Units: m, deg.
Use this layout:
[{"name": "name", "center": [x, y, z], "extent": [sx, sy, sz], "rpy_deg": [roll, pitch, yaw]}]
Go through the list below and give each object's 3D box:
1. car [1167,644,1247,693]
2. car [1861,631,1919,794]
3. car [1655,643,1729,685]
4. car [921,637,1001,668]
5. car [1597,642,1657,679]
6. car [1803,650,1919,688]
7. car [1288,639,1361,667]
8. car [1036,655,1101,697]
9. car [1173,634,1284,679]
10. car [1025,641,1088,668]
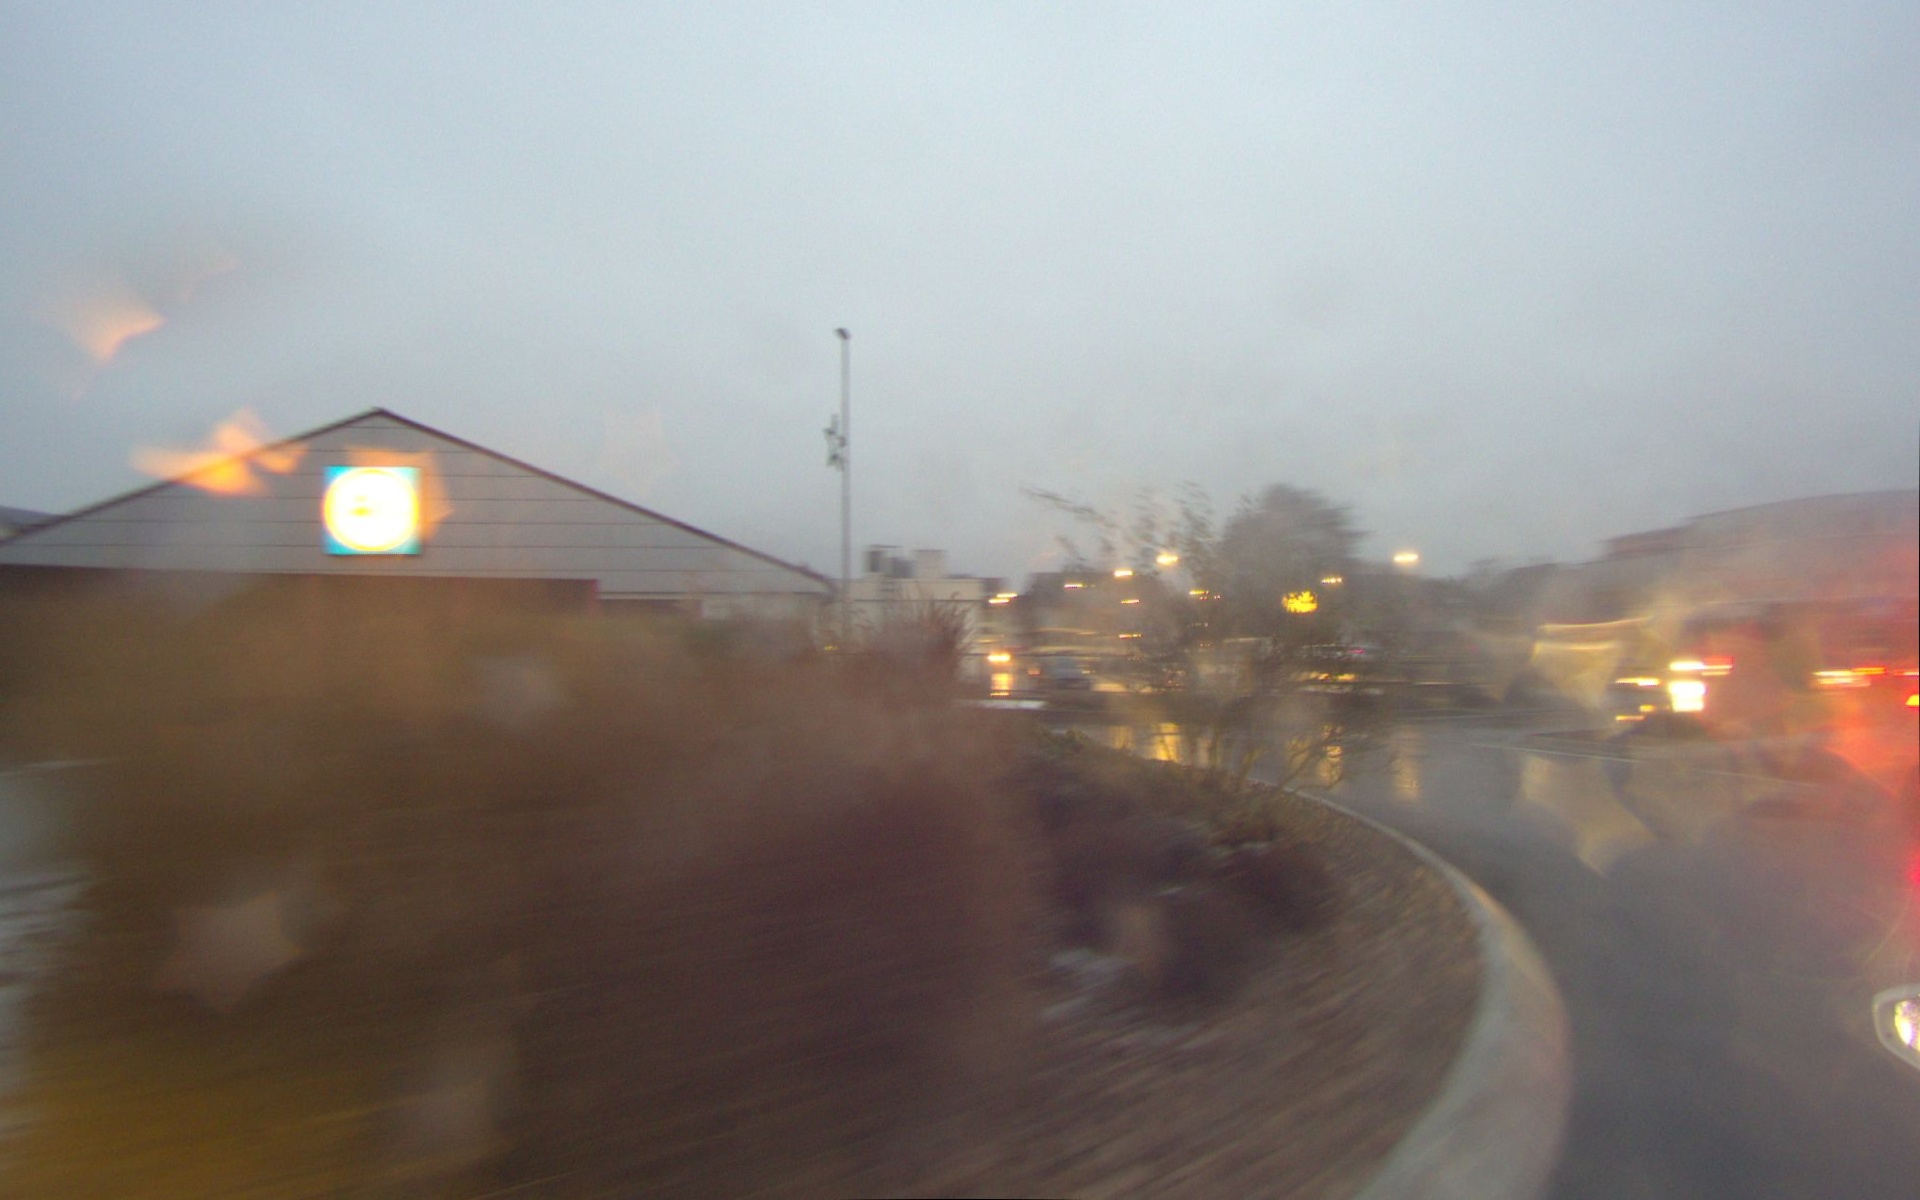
[{"name": "car", "center": [9.057, 2.477, 37.149], "extent": [2.024, 1.582, 4.282], "rpy_deg": [2, -1, 2]}, {"name": "car", "center": [12.009, 1.242, 11.854], "extent": [1.924, 1.741, 3.976], "rpy_deg": [-2, -3, 44]}, {"name": "car", "center": [39.645, 3.442, 54.557], "extent": [2.128, 2.087, 4.570], "rpy_deg": [-1, -2, 21]}, {"name": "car", "center": [0.046, 3.300, 63.395], "extent": [4.953, 1.687, 1.796], "rpy_deg": [2, -1, -1]}, {"name": "car", "center": [40.355, 3.629, 60.875], "extent": [2.129, 2.087, 4.570], "rpy_deg": [-1, -2, 23]}, {"name": "car", "center": [39.861, 3.051, 44.511], "extent": [1.850, 1.568, 4.576], "rpy_deg": [0, -4, 12]}, {"name": "car", "center": [24.244, 3.527, 66.911], "extent": [4.271, 1.770, 1.706], "rpy_deg": [0, -1, -2]}, {"name": "car", "center": [4.042, 2.835, 37.956], "extent": [1.806, 1.329, 3.999], "rpy_deg": [2, -1, -3]}, {"name": "car", "center": [14.365, 3.027, 53.890], "extent": [5.323, 2.162, 2.031], "rpy_deg": [2, -1, -7]}, {"name": "car", "center": [6.225, 3.552, 65.284], "extent": [3.779, 1.561, 1.727], "rpy_deg": [2, -1, -6]}]
